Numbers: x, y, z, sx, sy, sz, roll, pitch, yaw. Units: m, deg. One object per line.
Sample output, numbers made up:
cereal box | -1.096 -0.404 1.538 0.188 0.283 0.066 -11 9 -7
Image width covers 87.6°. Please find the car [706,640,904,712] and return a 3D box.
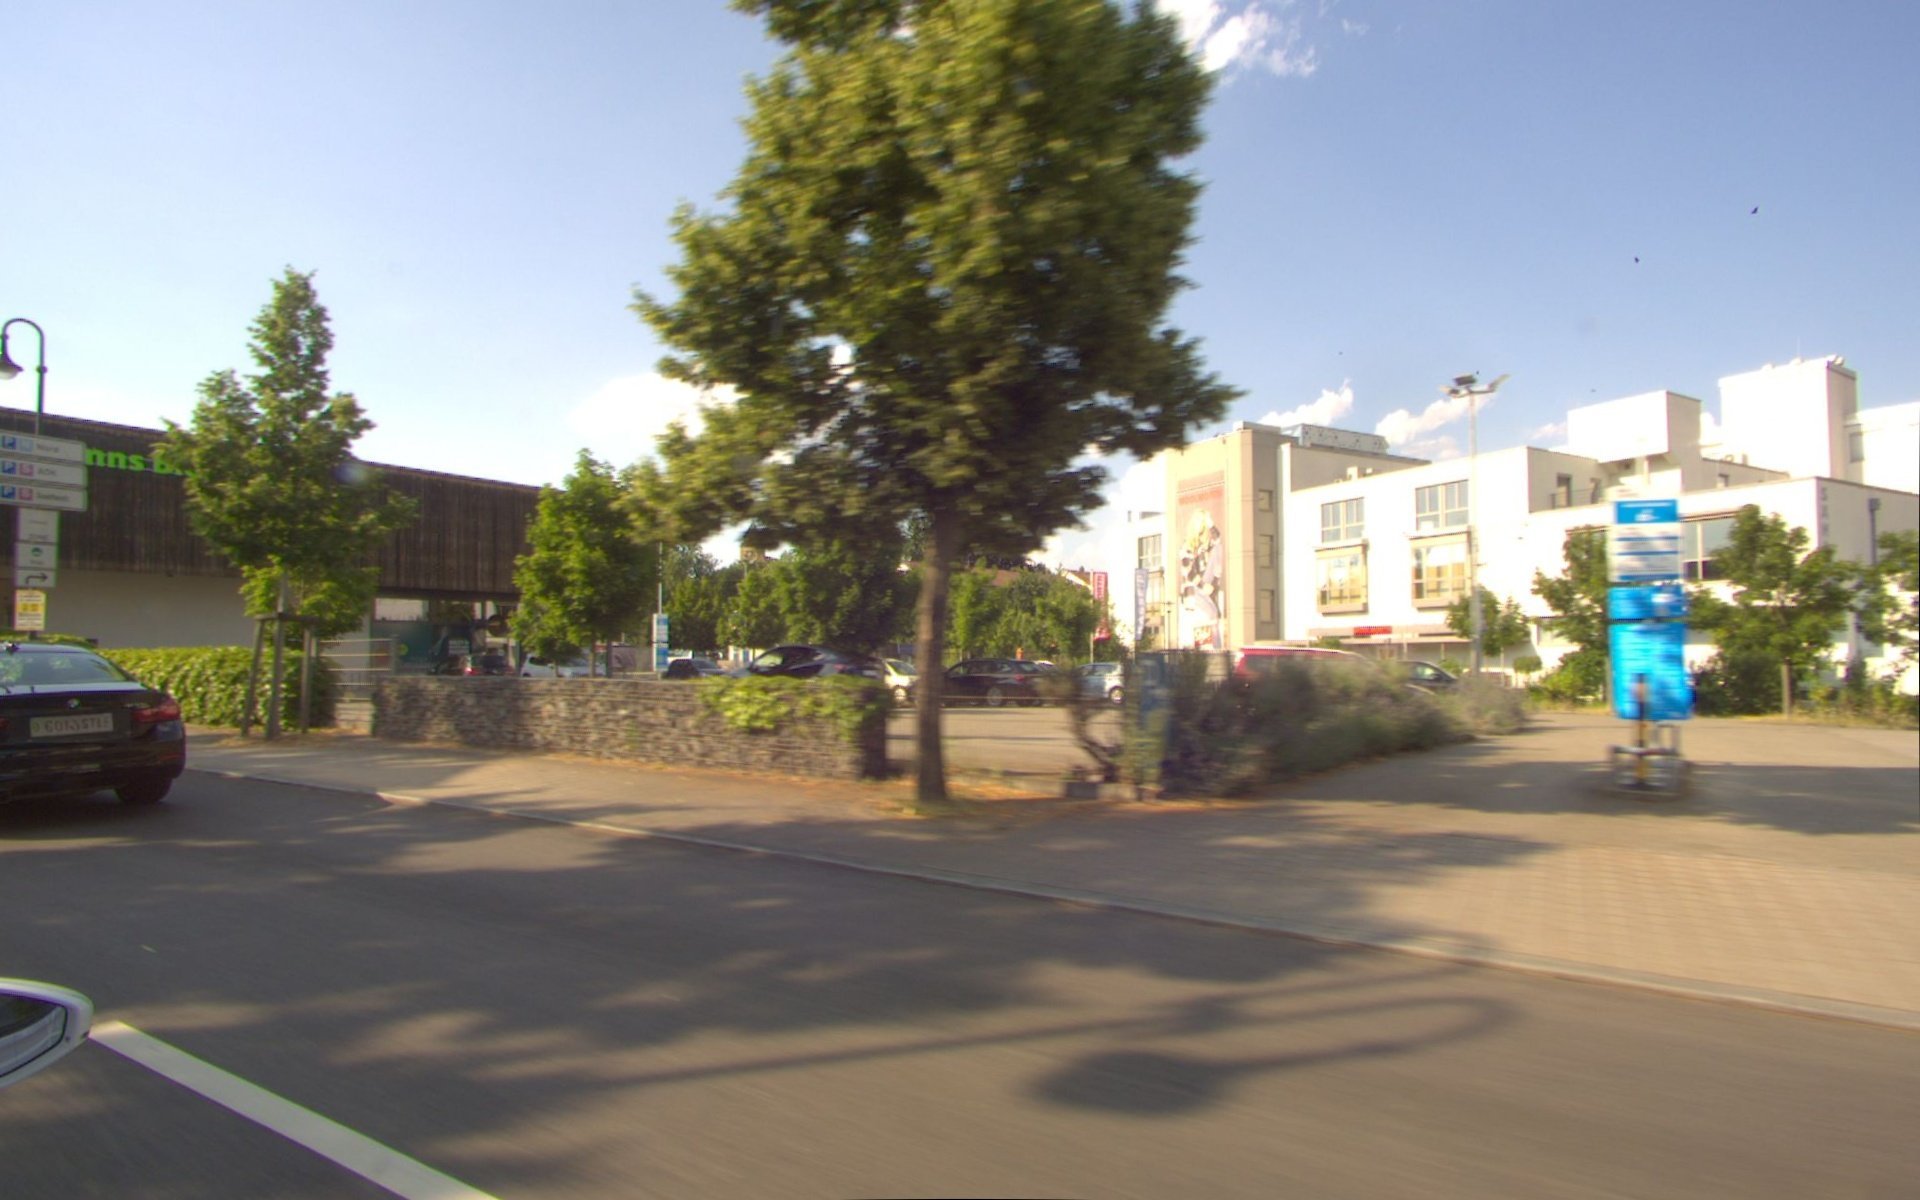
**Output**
car | -3.756 1.797 24.051 4.483 1.550 1.992 -1 -5 32

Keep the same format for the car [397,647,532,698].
car | -16.602 2.384 33.486 4.483 1.558 1.991 -1 -3 32

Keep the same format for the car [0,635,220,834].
car | -8.386 0.996 8.467 4.289 1.381 1.918 -1 -2 31

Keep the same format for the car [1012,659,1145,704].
car | 4.289 2.915 36.471 4.483 1.461 1.870 -1 -3 32

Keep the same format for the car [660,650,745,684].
car | -12.739 3.300 49.484 3.947 1.570 1.989 -1 -3 36

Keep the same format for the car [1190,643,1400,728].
car | 8.223 2.026 24.701 4.582 1.877 1.990 -1 -3 33

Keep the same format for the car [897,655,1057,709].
car | 0.481 2.433 30.351 4.483 1.461 1.991 -1 -3 32

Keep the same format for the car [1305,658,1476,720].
car | 12.998 2.639 30.307 4.484 1.668 1.990 -1 -3 33

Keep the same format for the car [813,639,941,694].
car | -2.925 2.299 34.900 4.261 1.743 1.884 -1 -5 38

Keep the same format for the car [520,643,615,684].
car | -16.990 2.712 43.337 3.947 1.648 1.989 -1 -3 36

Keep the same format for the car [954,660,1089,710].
car | 1.982 2.699 32.482 3.896 1.461 1.991 -1 -3 32
